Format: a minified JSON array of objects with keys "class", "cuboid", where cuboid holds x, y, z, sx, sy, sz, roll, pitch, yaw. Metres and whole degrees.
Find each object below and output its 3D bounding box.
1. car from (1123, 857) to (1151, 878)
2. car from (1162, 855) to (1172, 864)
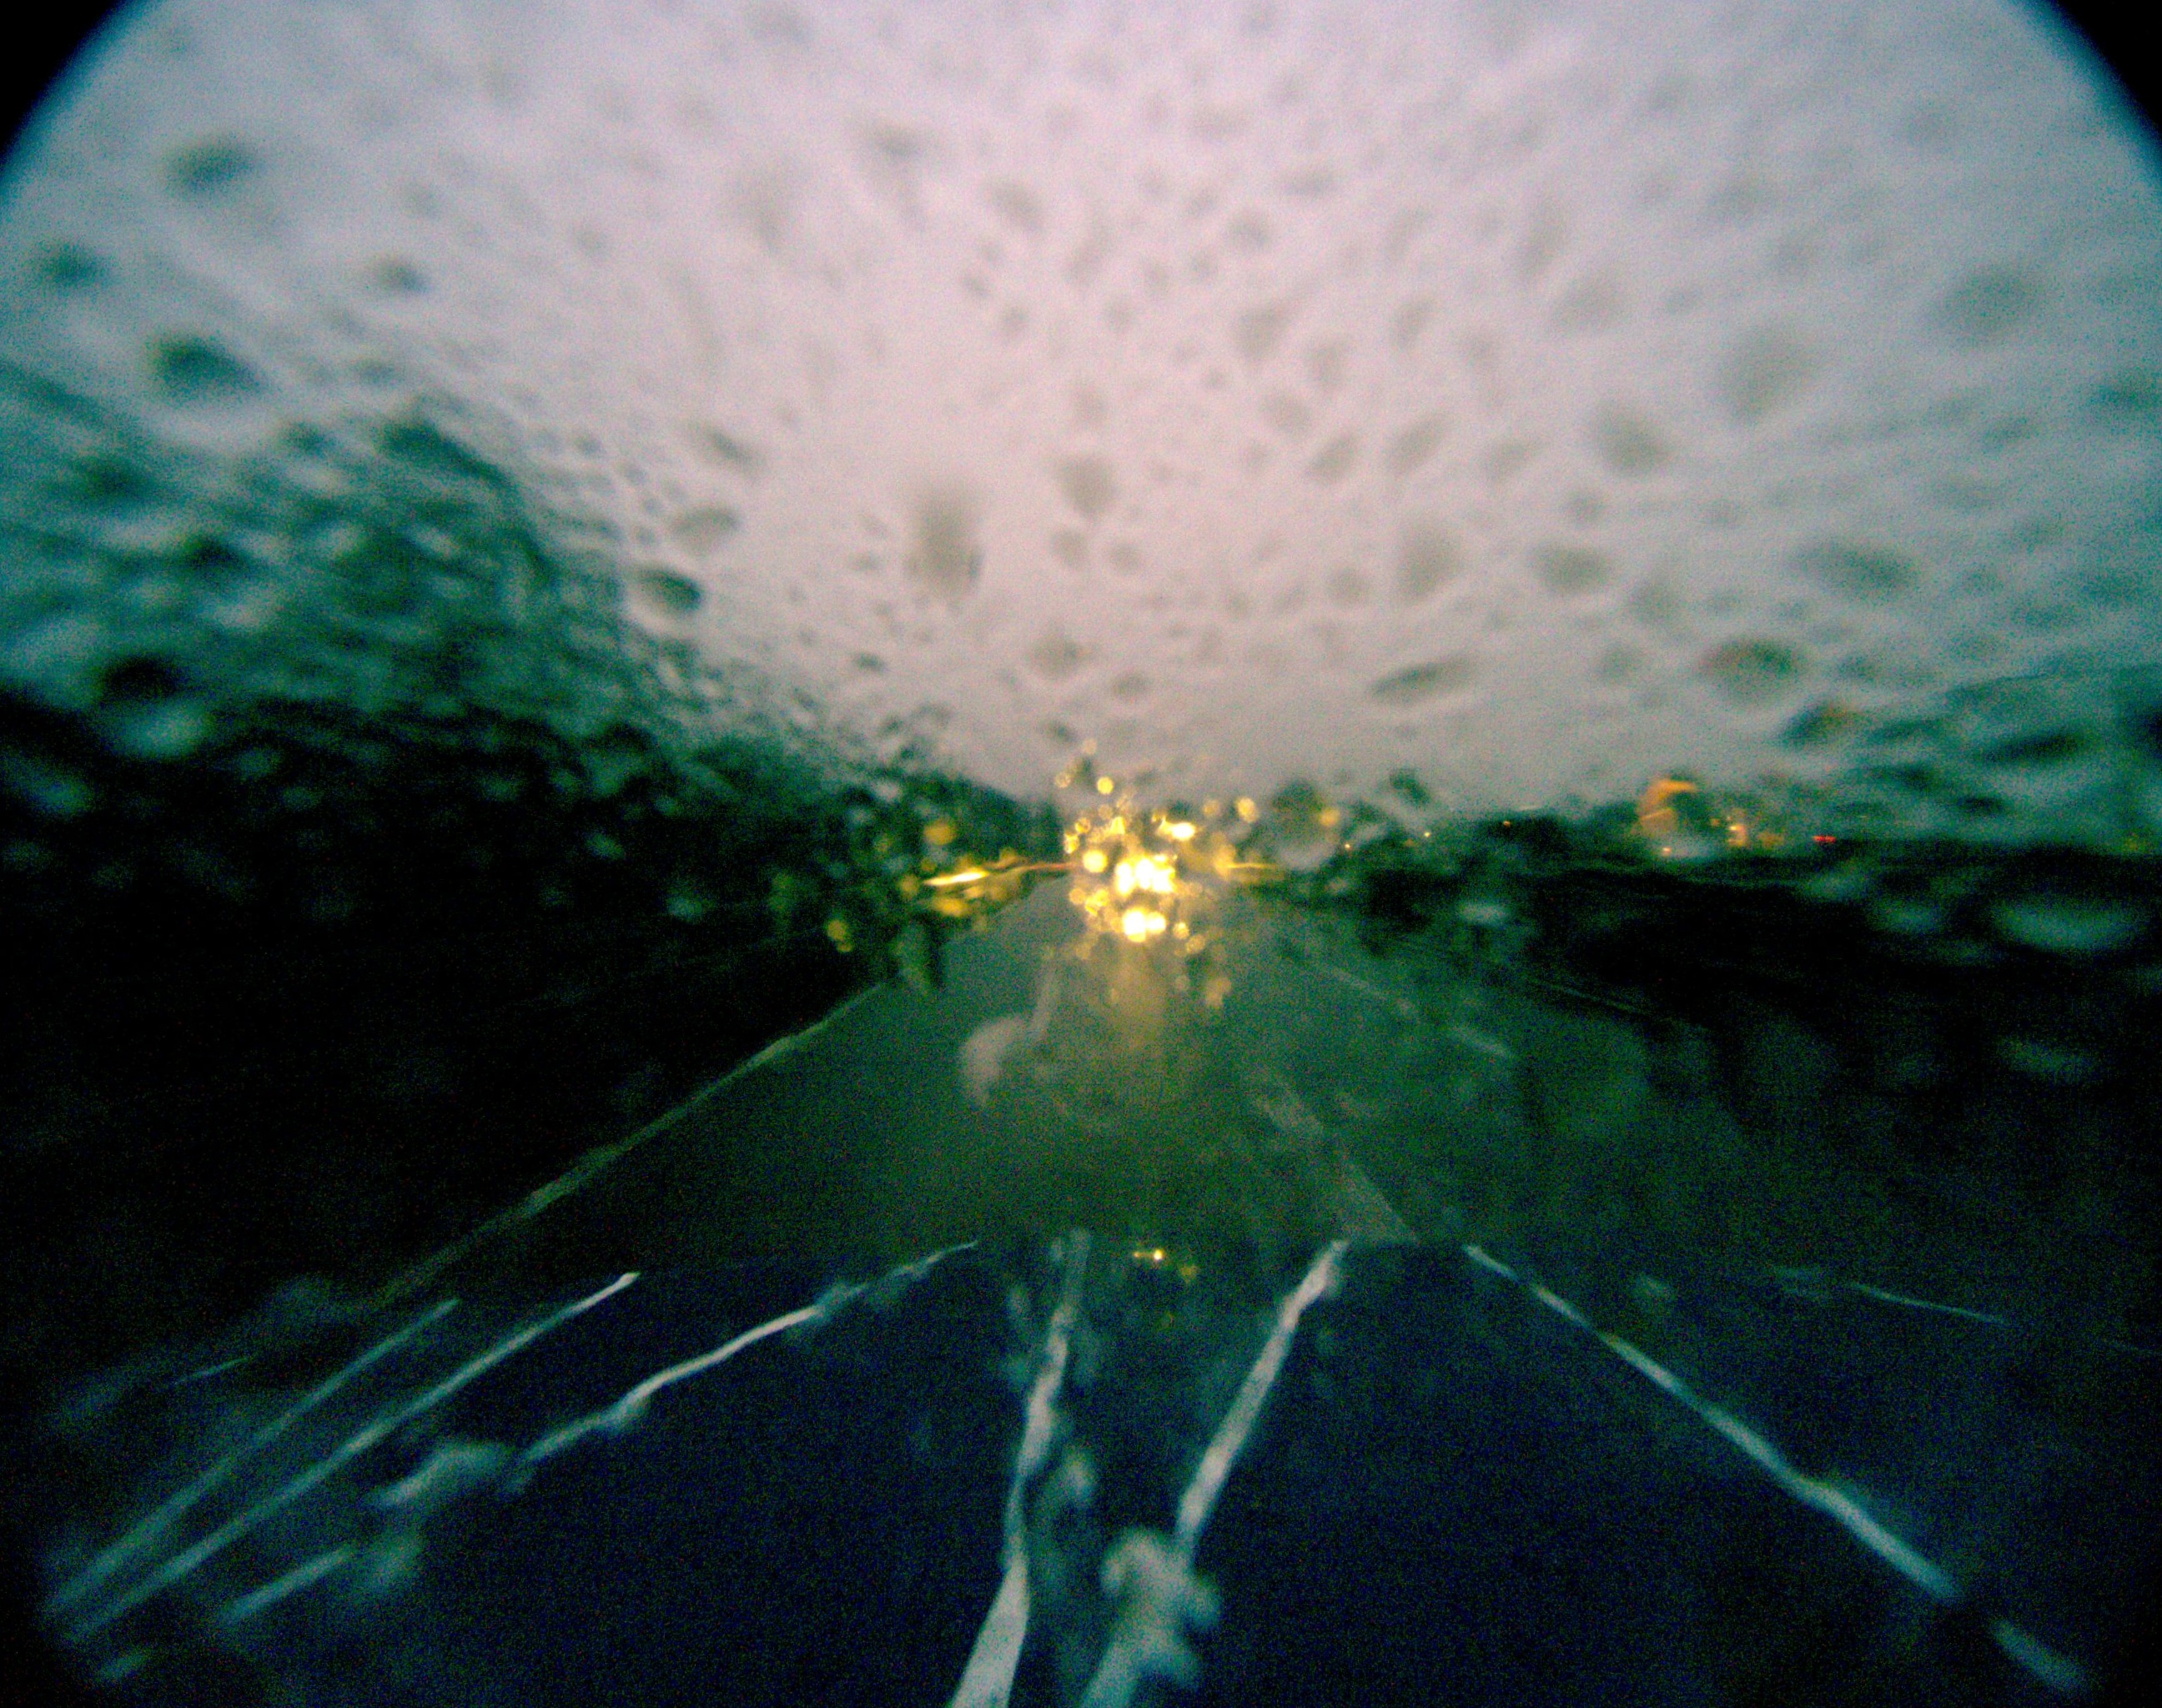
[{"class":"car","cuboid":[4.263,1.039,58.211,1.886,1.513,4.000,-1,0,1]},{"class":"car","cuboid":[18.241,1.104,161.185,1.998,1.838,3.674,-2,0,6]}]
